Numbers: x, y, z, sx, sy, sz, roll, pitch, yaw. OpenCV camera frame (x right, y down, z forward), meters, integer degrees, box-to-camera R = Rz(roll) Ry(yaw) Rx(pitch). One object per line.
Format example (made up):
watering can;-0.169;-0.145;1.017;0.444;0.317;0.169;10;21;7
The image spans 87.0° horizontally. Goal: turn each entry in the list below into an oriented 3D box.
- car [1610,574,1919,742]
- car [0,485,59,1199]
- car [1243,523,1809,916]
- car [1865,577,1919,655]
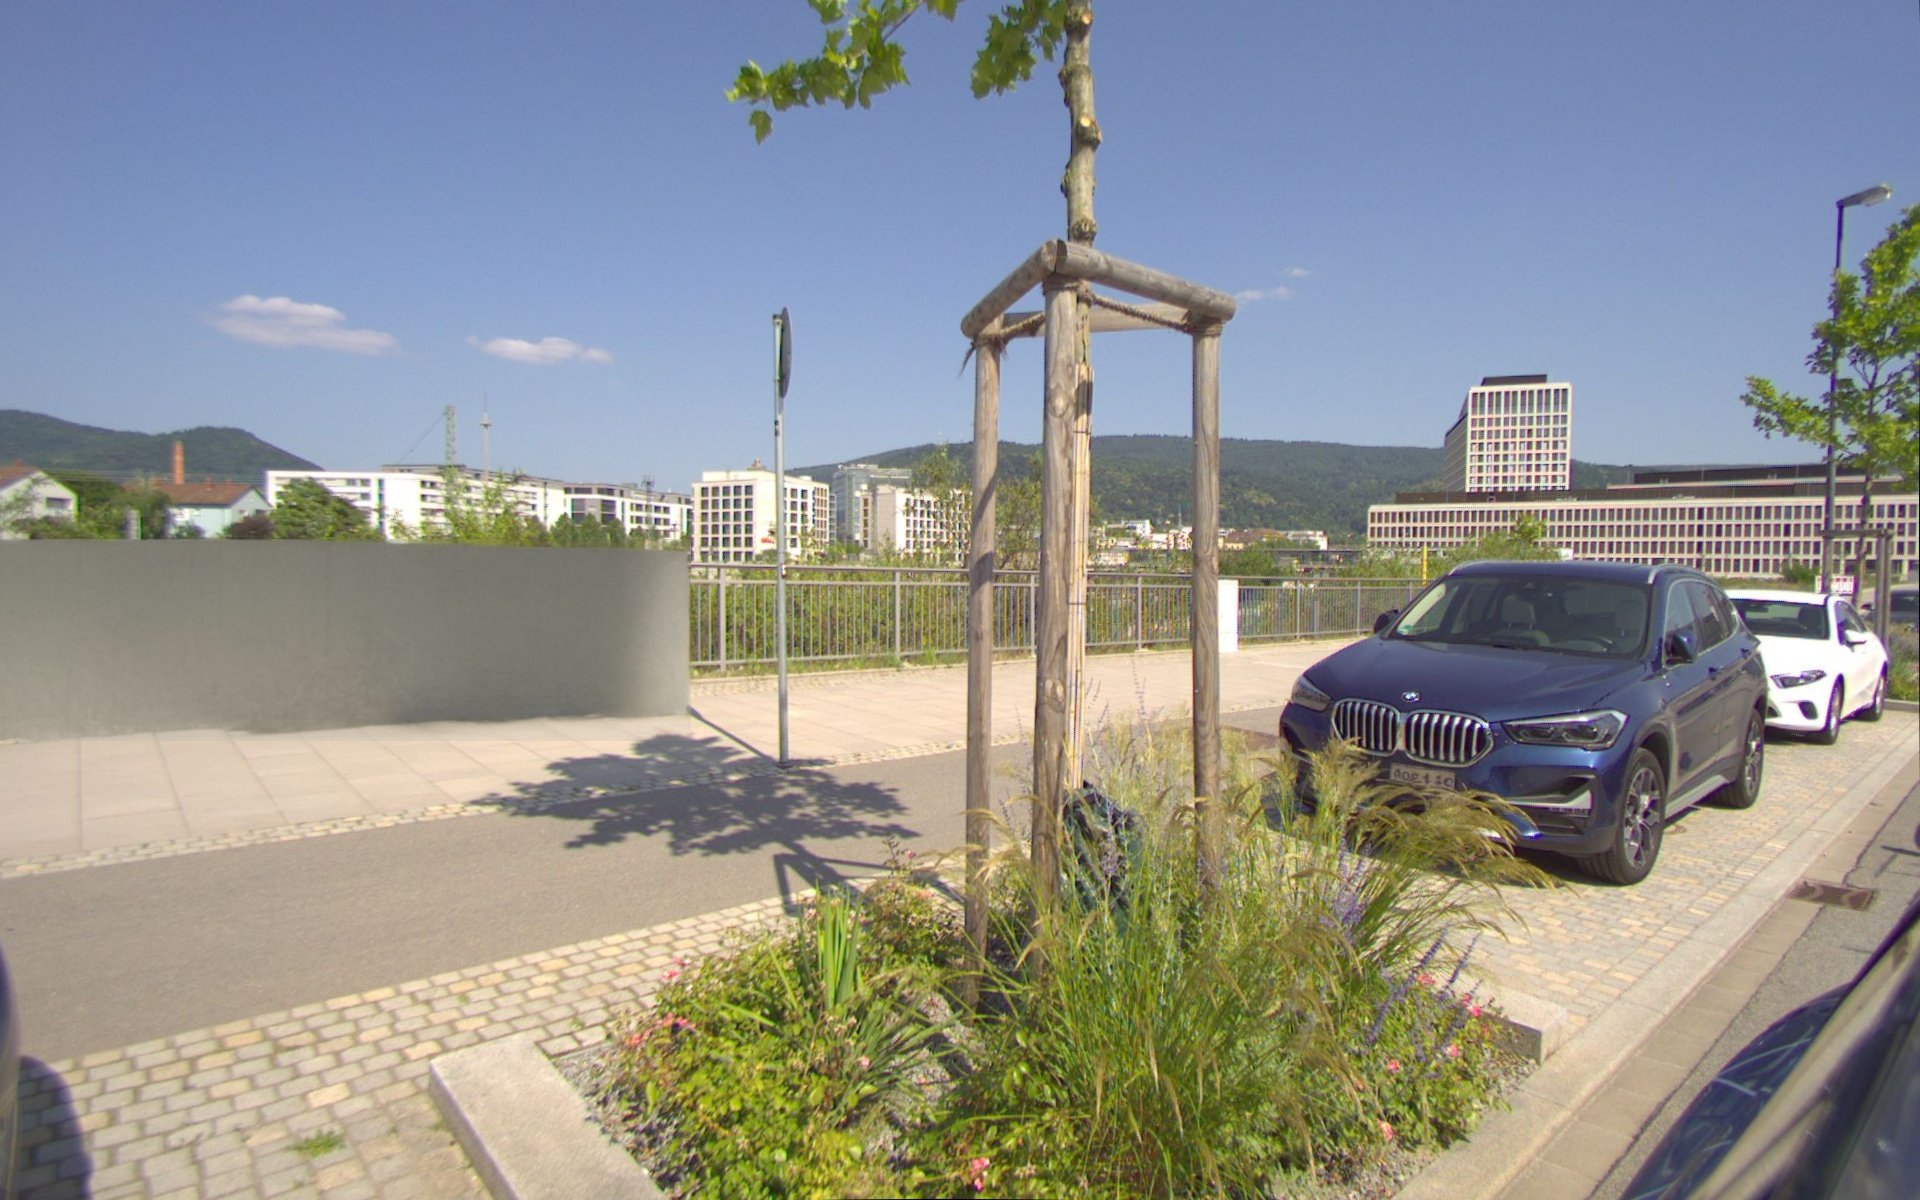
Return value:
car;8.827;0.464;10.976;4.194;1.390;1.711;-1;5;-39
car;-2.821;0.611;0.520;3.485;1.574;1.585;0;4;-41
car;3.787;0.430;6.438;4.197;1.703;1.807;-1;4;-41
car;20.246;0.316;20.905;3.849;1.449;1.808;-1;5;-41
